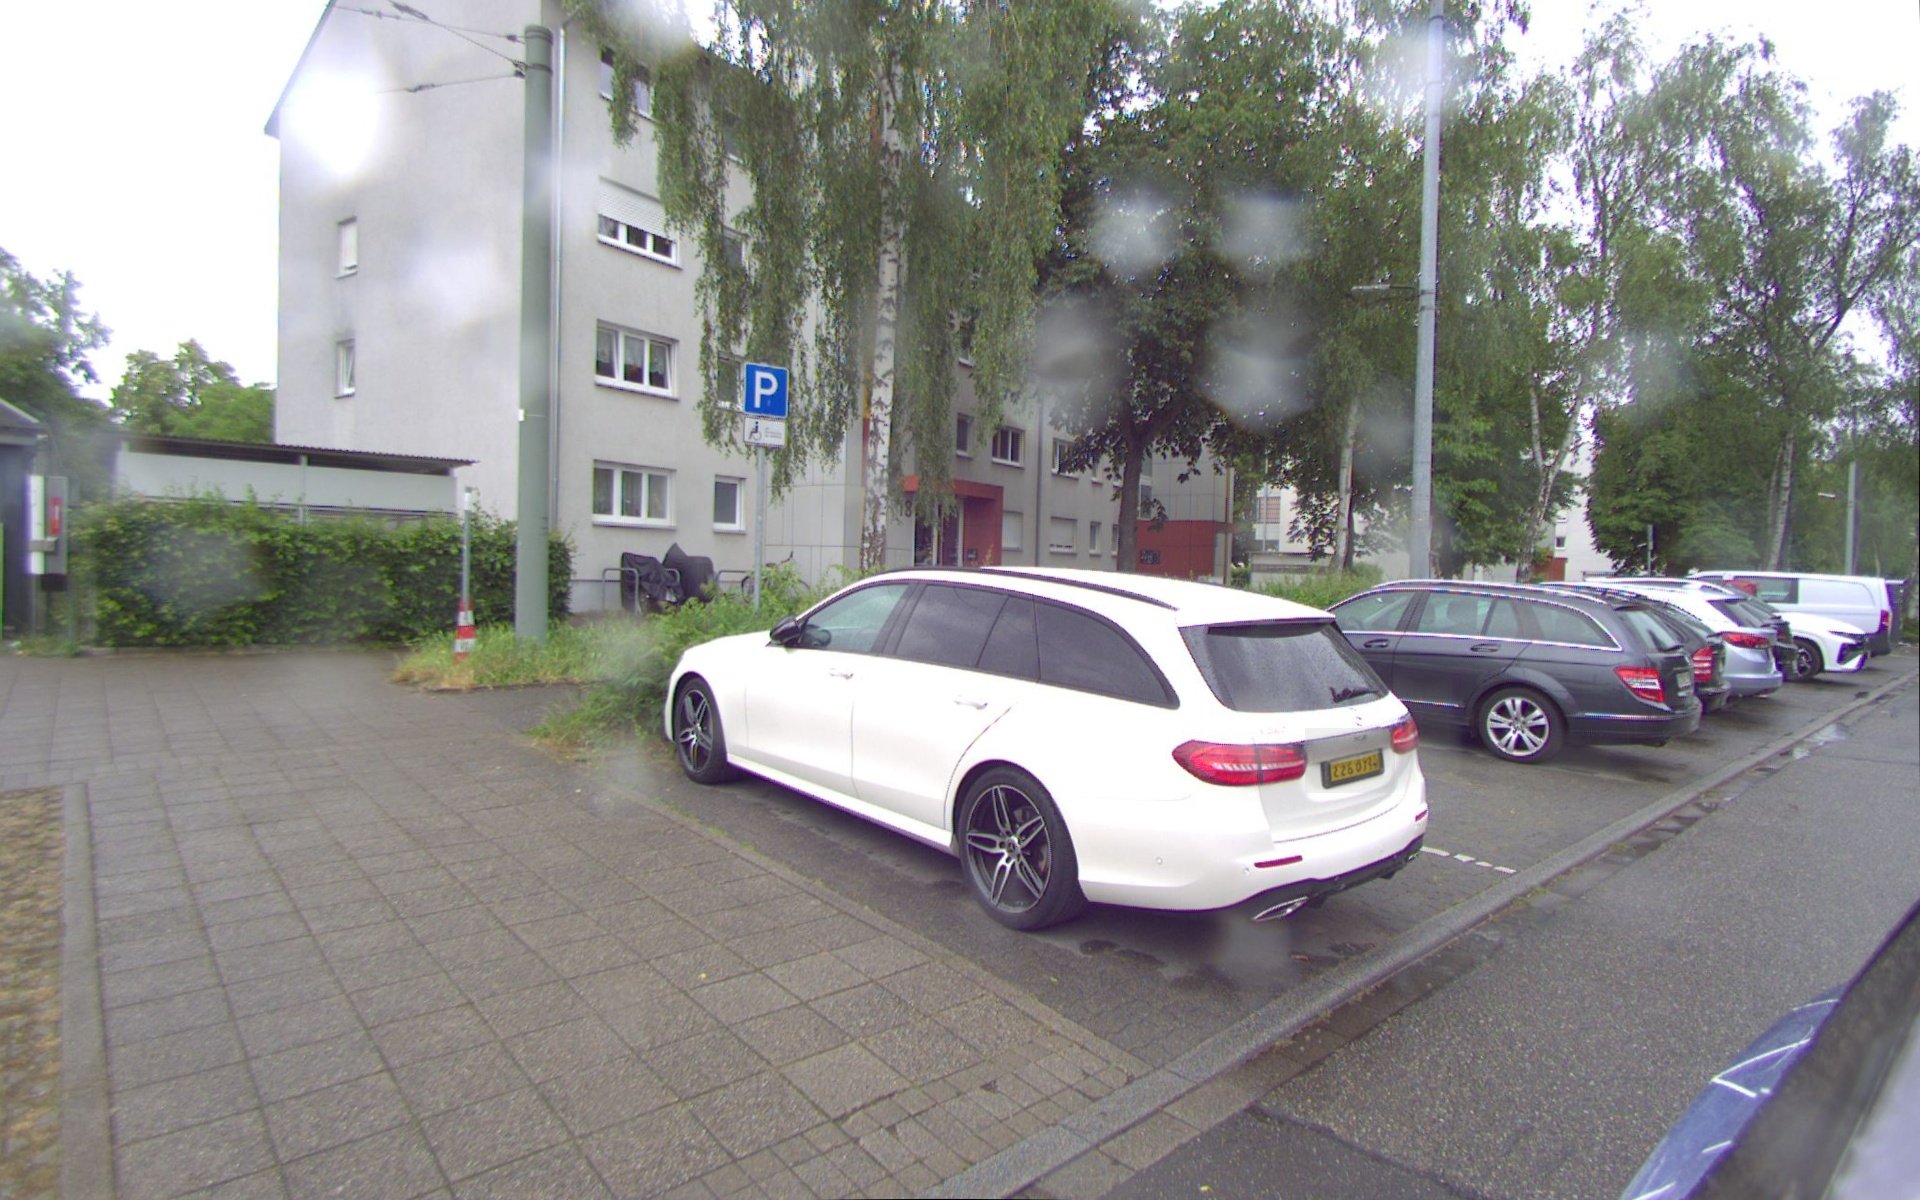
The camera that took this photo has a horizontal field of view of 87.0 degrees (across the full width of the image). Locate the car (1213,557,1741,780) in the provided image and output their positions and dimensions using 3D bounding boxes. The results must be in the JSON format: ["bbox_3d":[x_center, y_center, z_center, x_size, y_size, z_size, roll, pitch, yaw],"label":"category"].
[{"bbox_3d":[4.604,0.435,9.485,1.653,1.456,4.044,-1,5,-43],"label":"car"}]

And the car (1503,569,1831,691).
[{"bbox_3d":[11.301,0.367,16.381,1.653,1.514,4.044,-1,5,-43],"label":"car"}]

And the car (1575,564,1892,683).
[{"bbox_3d":[13.705,0.306,18.164,1.651,1.637,4.181,0,5,-40],"label":"car"}]

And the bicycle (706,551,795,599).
[{"bbox_3d":[-4.520,-0.530,21.973,0.701,1.005,1.918,0,0,37],"label":"bicycle"}]

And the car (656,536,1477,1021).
[{"bbox_3d":[0.085,0.473,5.606,1.651,1.456,4.623,-1,5,-41],"label":"car"}]

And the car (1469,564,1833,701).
[{"bbox_3d":[9.870,0.344,14.698,1.653,1.514,4.044,-1,5,-43],"label":"car"}]

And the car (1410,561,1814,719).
[{"bbox_3d":[8.219,0.372,13.043,1.653,1.514,4.044,-1,5,-43],"label":"car"}]

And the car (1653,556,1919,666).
[{"bbox_3d":[17.548,0.136,21.668,4.172,1.888,1.654,7,6,43],"label":"car"}]

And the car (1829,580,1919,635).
[{"bbox_3d":[34.460,0.263,36.831,1.866,1.937,3.998,-1,0,-36],"label":"car"}]

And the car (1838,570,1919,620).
[{"bbox_3d":[37.793,-0.196,40.297,1.866,1.937,3.998,-1,0,-36],"label":"car"}]

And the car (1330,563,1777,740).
[{"bbox_3d":[6.566,0.418,11.541,1.653,1.456,4.044,-1,5,-43],"label":"car"}]

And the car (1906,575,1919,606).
[{"bbox_3d":[53.223,-0.518,53.814,1.866,1.701,3.998,-1,1,-36],"label":"car"}]
